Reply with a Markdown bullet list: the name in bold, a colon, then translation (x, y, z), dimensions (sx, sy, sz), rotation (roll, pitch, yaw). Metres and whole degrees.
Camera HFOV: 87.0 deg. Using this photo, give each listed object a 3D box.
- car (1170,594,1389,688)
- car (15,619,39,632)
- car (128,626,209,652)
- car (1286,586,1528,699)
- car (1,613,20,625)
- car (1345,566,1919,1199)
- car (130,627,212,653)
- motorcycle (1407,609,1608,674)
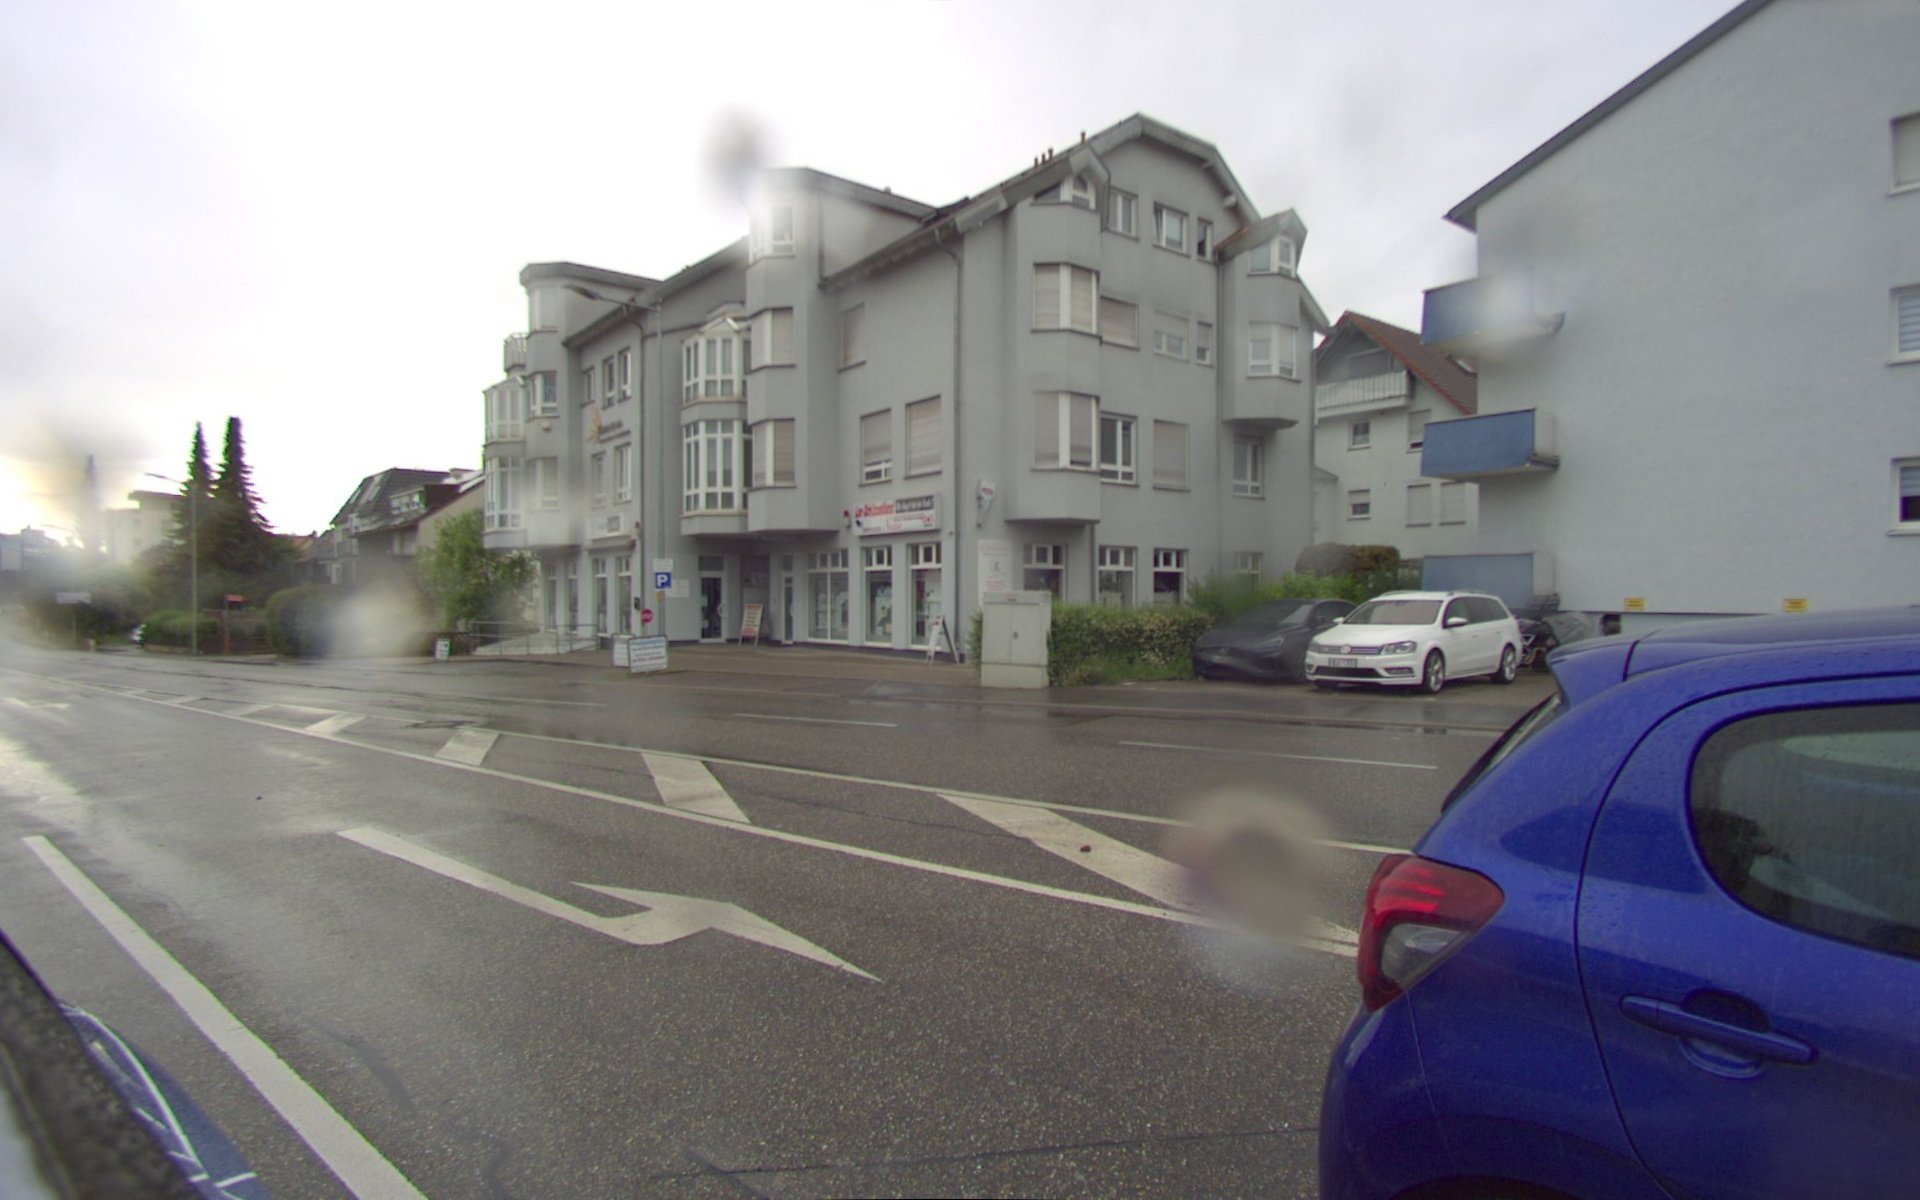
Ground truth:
- **car**: translation (5.577, 0.645, 17.454), dimensions (3.940, 1.421, 1.906), rotation (0, -1, -43)
- **car**: translation (-124.330, 3.370, 134.901), dimensions (1.968, 1.628, 4.008), rotation (0, -1, -38)
- **car**: translation (-53.072, 2.591, 67.876), dimensions (4.058, 1.557, 2.002), rotation (-2, 0, -44)
- **car**: translation (6.953, 0.575, 15.535), dimensions (4.169, 1.485, 1.906), rotation (0, -1, -43)
- **car**: translation (-148.734, 3.032, 158.589), dimensions (1.824, 1.777, 4.129), rotation (0, -1, -39)
- **car**: translation (2.370, 0.632, 1.127), dimensions (3.269, 1.421, 1.562), rotation (-2, 0, 42)
- **car**: translation (-51.276, 2.596, 65.798), dimensions (4.096, 1.453, 1.892), rotation (-2, 0, -42)
- **motorcycle**: translation (9.874, 0.758, 18.444), dimensions (3.112, 1.108, 0.869), rotation (-2, -1, 25)
